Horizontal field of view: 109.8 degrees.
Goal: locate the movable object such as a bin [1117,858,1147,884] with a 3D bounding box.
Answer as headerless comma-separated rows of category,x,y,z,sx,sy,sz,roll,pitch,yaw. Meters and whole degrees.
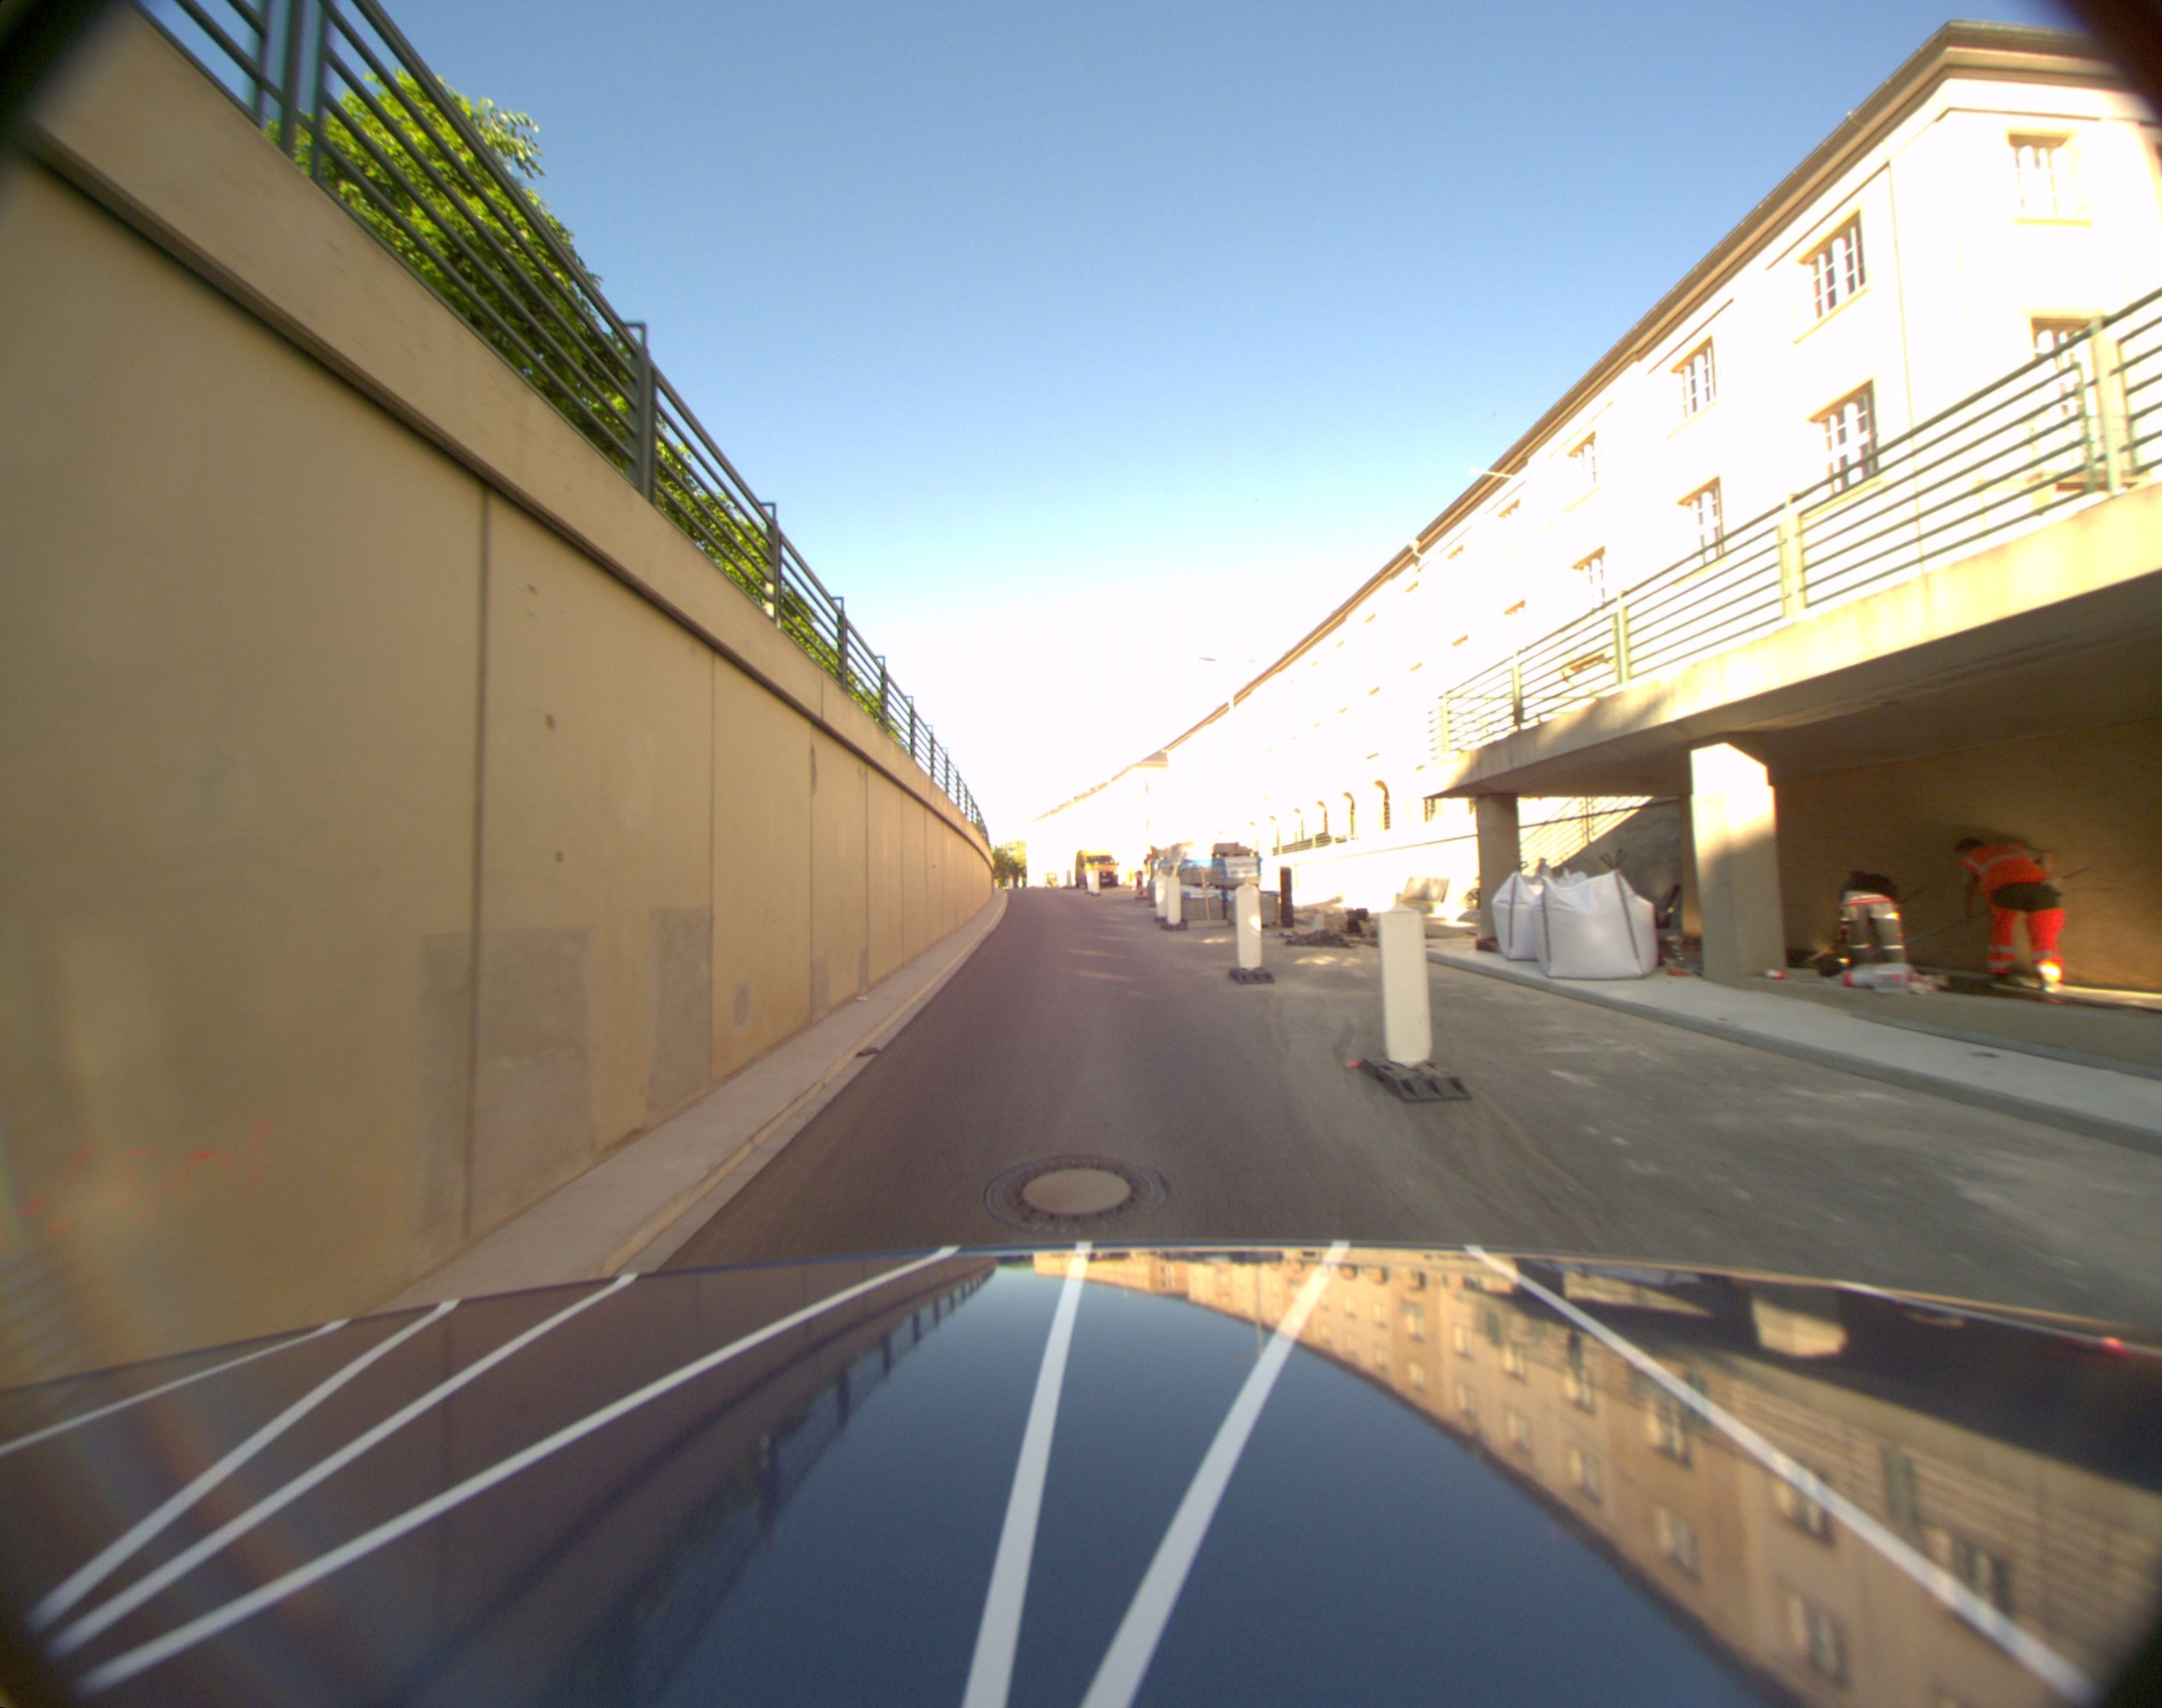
movable object such as a bin,5.029,1.711,75.571,2.106,2.380,4.306,1,-3,-9

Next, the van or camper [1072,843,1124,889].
van or camper,0.971,0.766,48.363,2.200,2.597,6.821,-3,-1,-7

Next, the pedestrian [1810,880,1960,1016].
pedestrian,8.892,1.004,8.433,0.874,1.390,0.783,-1,0,-9

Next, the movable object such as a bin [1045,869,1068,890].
movable object such as a bin,-3.006,3.113,92.289,1.798,2.437,4.533,1,-4,-17

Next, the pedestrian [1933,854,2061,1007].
pedestrian,9.868,0.791,8.202,0.651,1.570,0.630,-1,0,-9
